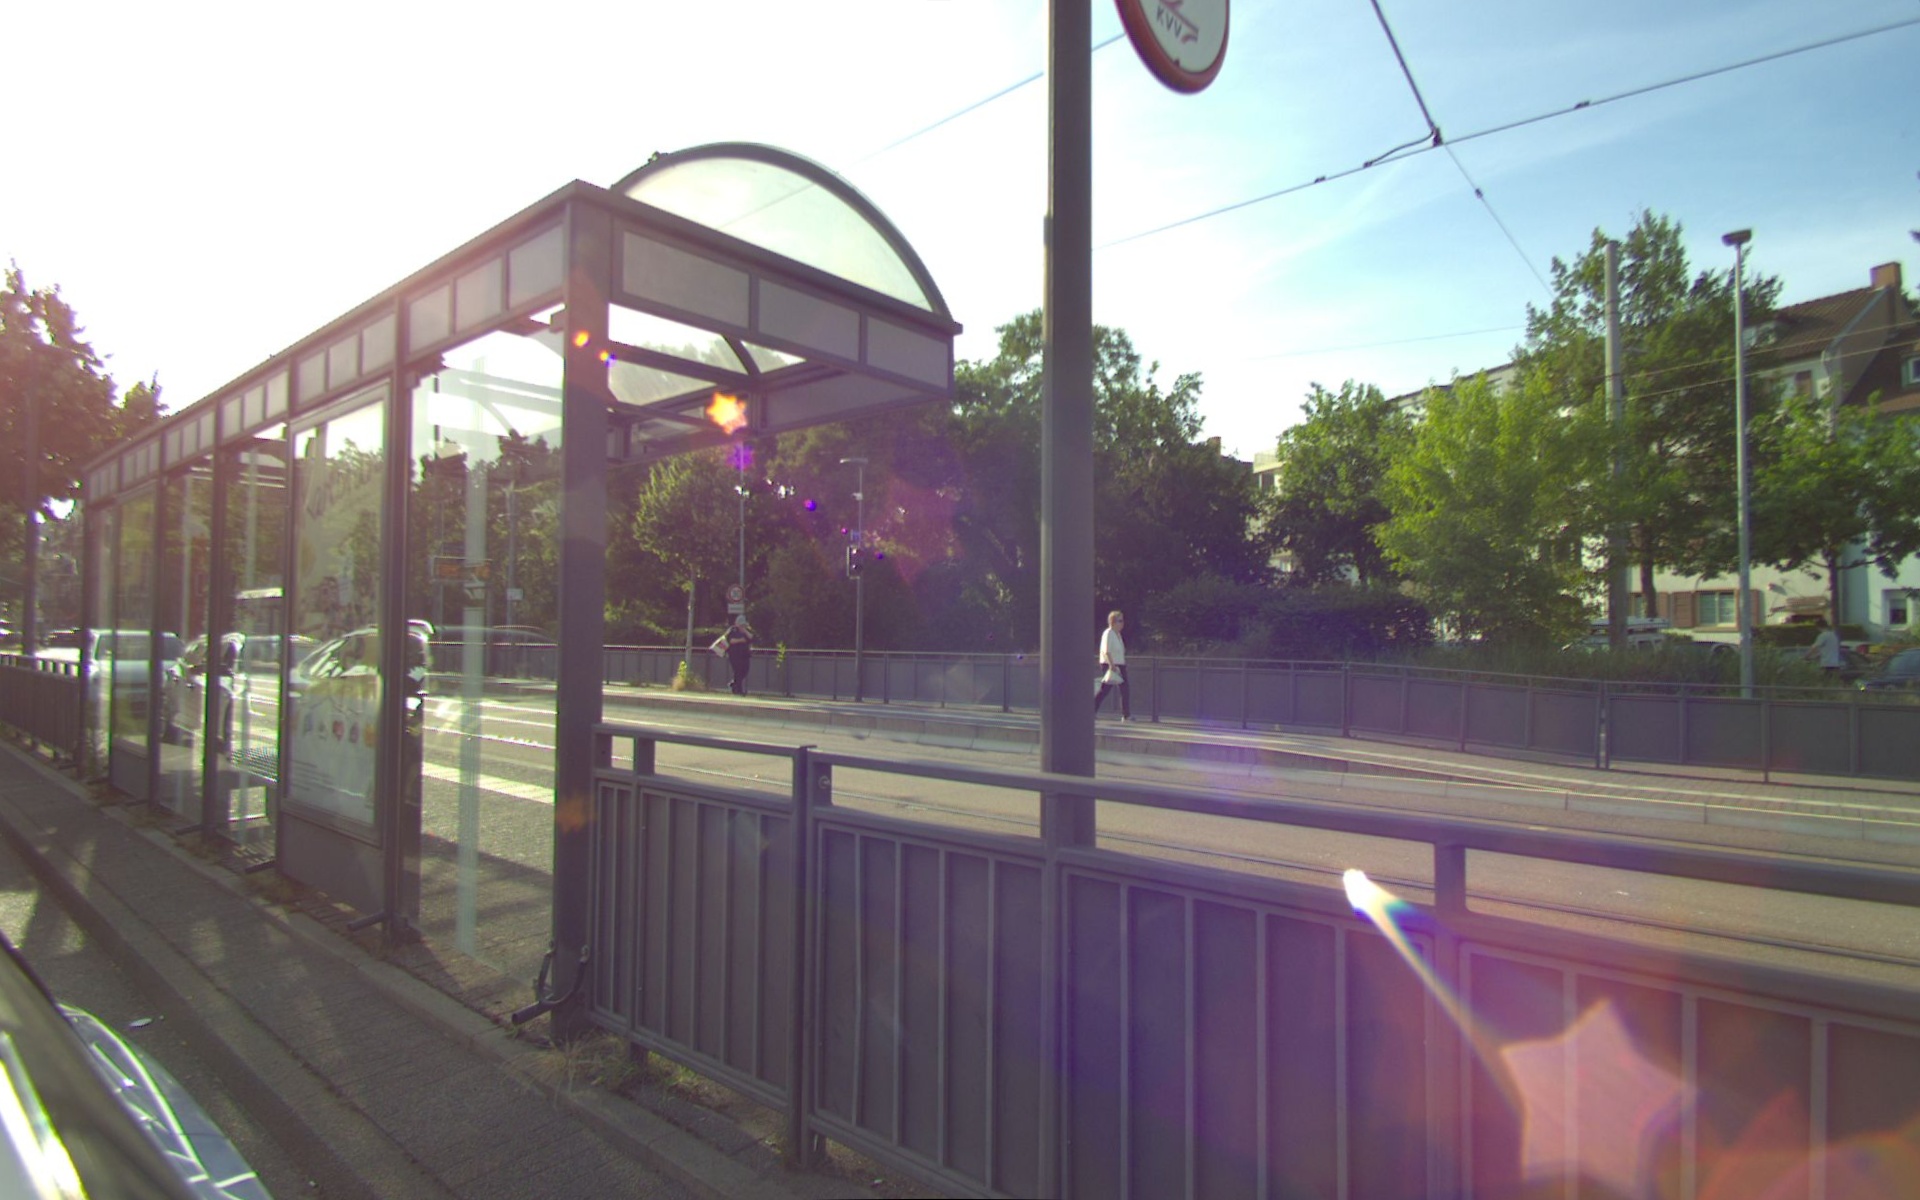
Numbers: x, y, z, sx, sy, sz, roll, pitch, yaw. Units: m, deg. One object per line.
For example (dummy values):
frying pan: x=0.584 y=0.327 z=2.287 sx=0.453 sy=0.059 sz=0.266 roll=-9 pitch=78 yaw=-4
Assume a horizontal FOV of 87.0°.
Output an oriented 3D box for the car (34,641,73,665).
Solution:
car: x=-78.500 y=4.537 z=87.662 sx=3.997 sy=2.029 sz=1.973 roll=-2 pitch=-3 yaw=41

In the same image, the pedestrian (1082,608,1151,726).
pedestrian: x=2.259 y=0.948 z=14.633 sx=0.727 sy=1.640 sz=0.699 roll=-2 pitch=-3 yaw=41

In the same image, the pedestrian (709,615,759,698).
pedestrian: x=-4.600 y=1.143 z=20.606 sx=0.689 sy=1.640 sz=0.727 roll=-2 pitch=-3 yaw=41

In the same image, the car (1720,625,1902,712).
car: x=18.997 y=1.486 z=22.572 sx=3.931 sy=1.767 sz=1.860 roll=2 pitch=-3 yaw=-30

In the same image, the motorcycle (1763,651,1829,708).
motorcycle: x=16.005 y=1.509 z=19.393 sx=0.919 sy=1.059 sz=0.495 roll=-1 pitch=-3 yaw=35

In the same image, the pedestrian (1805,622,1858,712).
pedestrian: x=16.420 y=1.253 z=19.078 sx=0.669 sy=1.668 sz=0.367 roll=-1 pitch=-3 yaw=34

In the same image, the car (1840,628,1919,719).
car: x=20.209 y=1.492 z=20.920 sx=3.931 sy=1.767 sz=1.860 roll=2 pitch=-3 yaw=-30

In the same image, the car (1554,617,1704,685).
car: x=18.452 y=1.390 z=27.890 sx=3.931 sy=1.767 sz=1.860 roll=2 pitch=-3 yaw=-30
